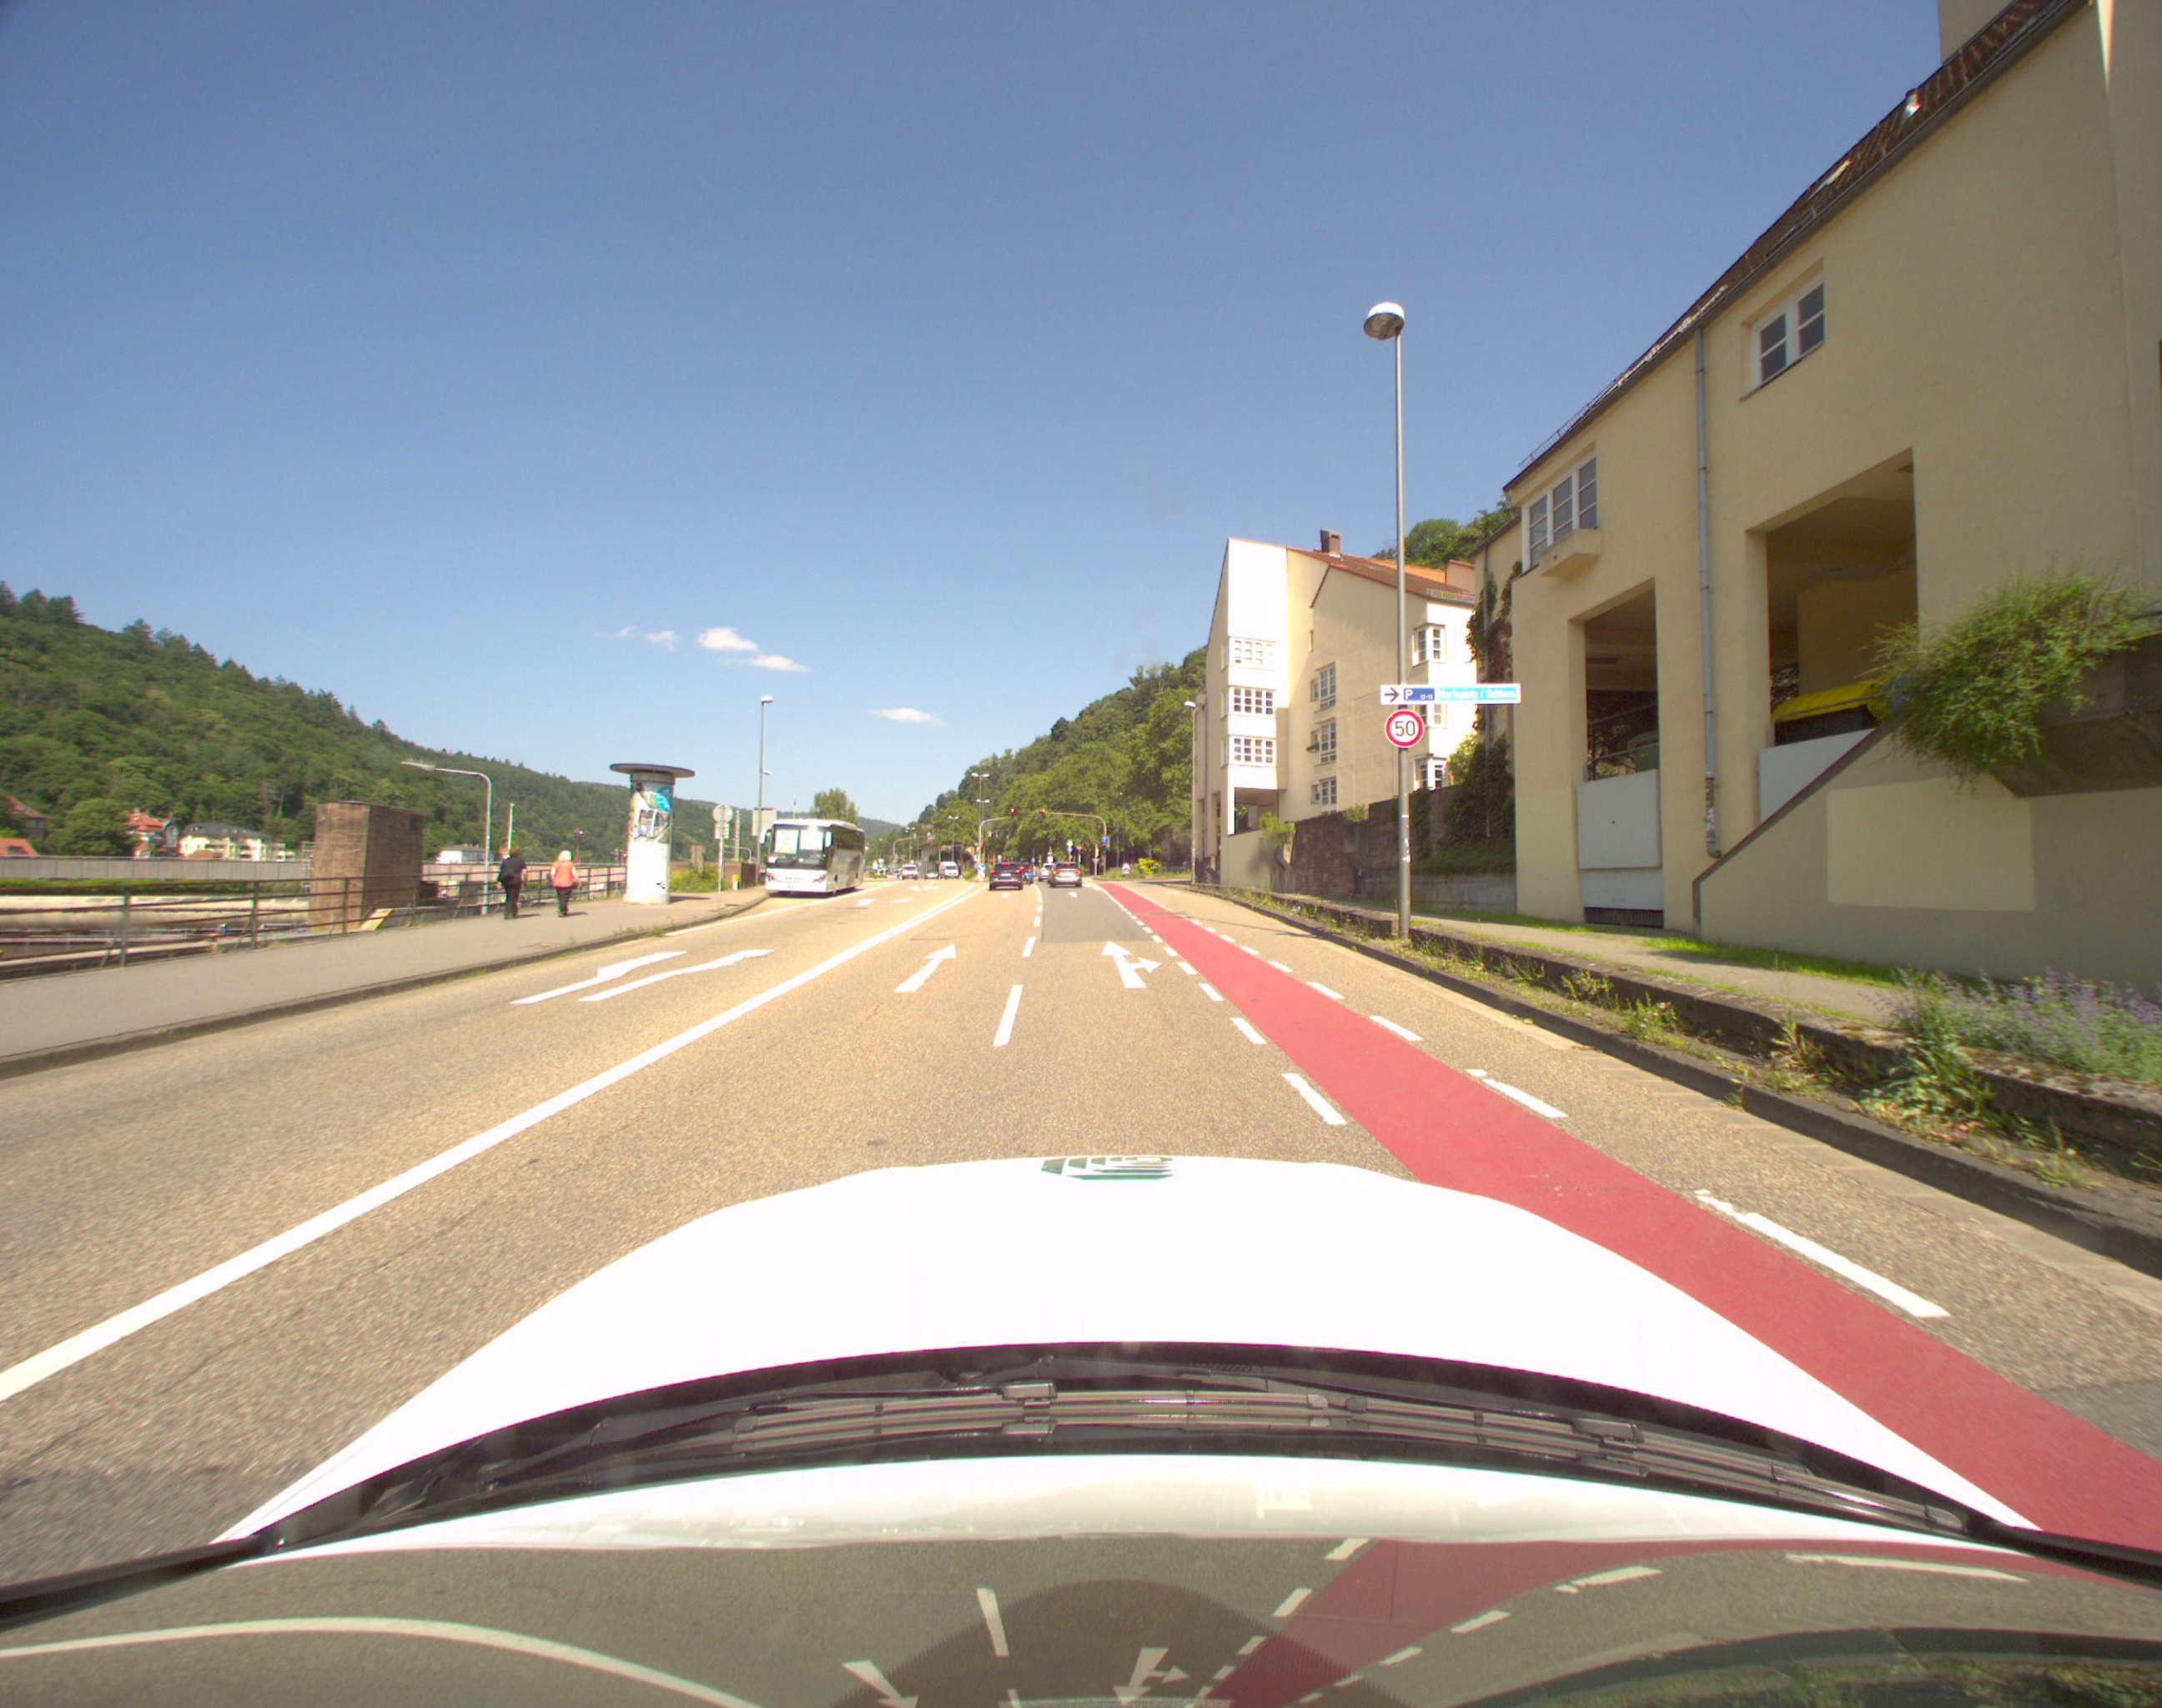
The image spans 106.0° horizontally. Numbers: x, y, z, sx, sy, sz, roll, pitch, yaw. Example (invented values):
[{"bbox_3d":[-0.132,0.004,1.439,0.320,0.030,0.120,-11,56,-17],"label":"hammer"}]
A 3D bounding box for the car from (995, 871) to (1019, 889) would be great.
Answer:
[{"bbox_3d":[-6.053,2.090,66.654,1.864,1.359,3.992,0,-1,-5],"label":"car"}]

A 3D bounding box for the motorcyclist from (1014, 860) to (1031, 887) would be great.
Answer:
[{"bbox_3d":[-3.791,1.252,52.522,1.073,1.684,1.154,0,-1,-4],"label":"motorcyclist"}]

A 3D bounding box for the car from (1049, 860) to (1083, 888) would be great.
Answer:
[{"bbox_3d":[-0.939,1.214,49.099,1.884,1.521,4.301,1,-2,-3],"label":"car"}]

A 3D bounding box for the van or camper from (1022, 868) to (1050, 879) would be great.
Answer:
[{"bbox_3d":[-7.924,3.429,143.155,4.511,1.902,2.007,-1,-1,13],"label":"van or camper"}]

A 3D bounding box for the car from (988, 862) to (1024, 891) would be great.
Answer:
[{"bbox_3d":[-4.114,1.234,44.724,1.866,1.514,4.142,2,-2,-5],"label":"car"}]

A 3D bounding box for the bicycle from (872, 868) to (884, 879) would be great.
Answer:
[{"bbox_3d":[-20.865,2.033,83.660,1.214,1.090,2.585,0,-1,-14],"label":"bicycle"}]

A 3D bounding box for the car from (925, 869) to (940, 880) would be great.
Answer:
[{"bbox_3d":[-21.973,3.002,120.194,1.996,1.432,4.147,0,-1,-14],"label":"car"}]

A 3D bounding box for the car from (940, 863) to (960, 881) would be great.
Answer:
[{"bbox_3d":[-20.000,2.695,124.318,2.388,2.576,6.023,0,-1,-15],"label":"car"}]

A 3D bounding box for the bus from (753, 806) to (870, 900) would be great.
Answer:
[{"bbox_3d":[-13.049,0.034,40.854,2.954,3.801,13.206,3,-1,-8],"label":"bus"}]

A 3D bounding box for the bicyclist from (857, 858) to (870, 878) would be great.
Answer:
[{"bbox_3d":[-21.787,1.408,81.523,1.214,2.014,1.113,0,-1,-14],"label":"bicyclist"}]

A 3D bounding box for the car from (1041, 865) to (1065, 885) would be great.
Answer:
[{"bbox_3d":[-2.351,1.726,66.878,1.782,1.532,4.729,-1,-2,-4],"label":"car"}]

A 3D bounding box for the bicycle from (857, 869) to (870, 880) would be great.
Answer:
[{"bbox_3d":[-21.756,2.046,81.491,1.214,1.090,2.585,0,-1,-14],"label":"bicycle"}]

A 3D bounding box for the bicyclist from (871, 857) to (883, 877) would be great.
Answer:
[{"bbox_3d":[-20.974,1.309,83.707,1.214,2.014,1.113,0,-1,-14],"label":"bicyclist"}]

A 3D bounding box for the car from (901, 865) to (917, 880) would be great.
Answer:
[{"bbox_3d":[-25.128,2.670,118.655,2.216,2.078,5.021,0,-1,-13],"label":"car"}]

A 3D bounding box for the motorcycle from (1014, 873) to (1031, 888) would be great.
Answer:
[{"bbox_3d":[-3.768,1.707,52.402,1.035,0.919,2.601,0,-1,-3],"label":"motorcycle"}]

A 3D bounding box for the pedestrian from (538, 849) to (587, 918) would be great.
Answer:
[{"bbox_3d":[-12.499,0.703,19.649,0.703,1.621,0.813,1,-2,-12],"label":"pedestrian"}]

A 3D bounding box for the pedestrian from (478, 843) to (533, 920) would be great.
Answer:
[{"bbox_3d":[-13.000,0.614,18.422,0.682,1.709,0.771,1,-2,-7],"label":"pedestrian"}]

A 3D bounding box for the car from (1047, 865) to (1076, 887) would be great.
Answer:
[{"bbox_3d":[-1.477,1.602,59.784,1.989,1.534,4.852,0,-1,-3],"label":"car"}]

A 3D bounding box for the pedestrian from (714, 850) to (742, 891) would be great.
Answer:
[{"bbox_3d":[-15.832,0.740,36.562,0.892,1.796,1.037,1,-2,-9],"label":"pedestrian"}]

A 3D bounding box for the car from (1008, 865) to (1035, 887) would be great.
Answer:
[{"bbox_3d":[-4.329,1.568,59.113,1.864,1.562,3.992,0,-1,-5],"label":"car"}]
